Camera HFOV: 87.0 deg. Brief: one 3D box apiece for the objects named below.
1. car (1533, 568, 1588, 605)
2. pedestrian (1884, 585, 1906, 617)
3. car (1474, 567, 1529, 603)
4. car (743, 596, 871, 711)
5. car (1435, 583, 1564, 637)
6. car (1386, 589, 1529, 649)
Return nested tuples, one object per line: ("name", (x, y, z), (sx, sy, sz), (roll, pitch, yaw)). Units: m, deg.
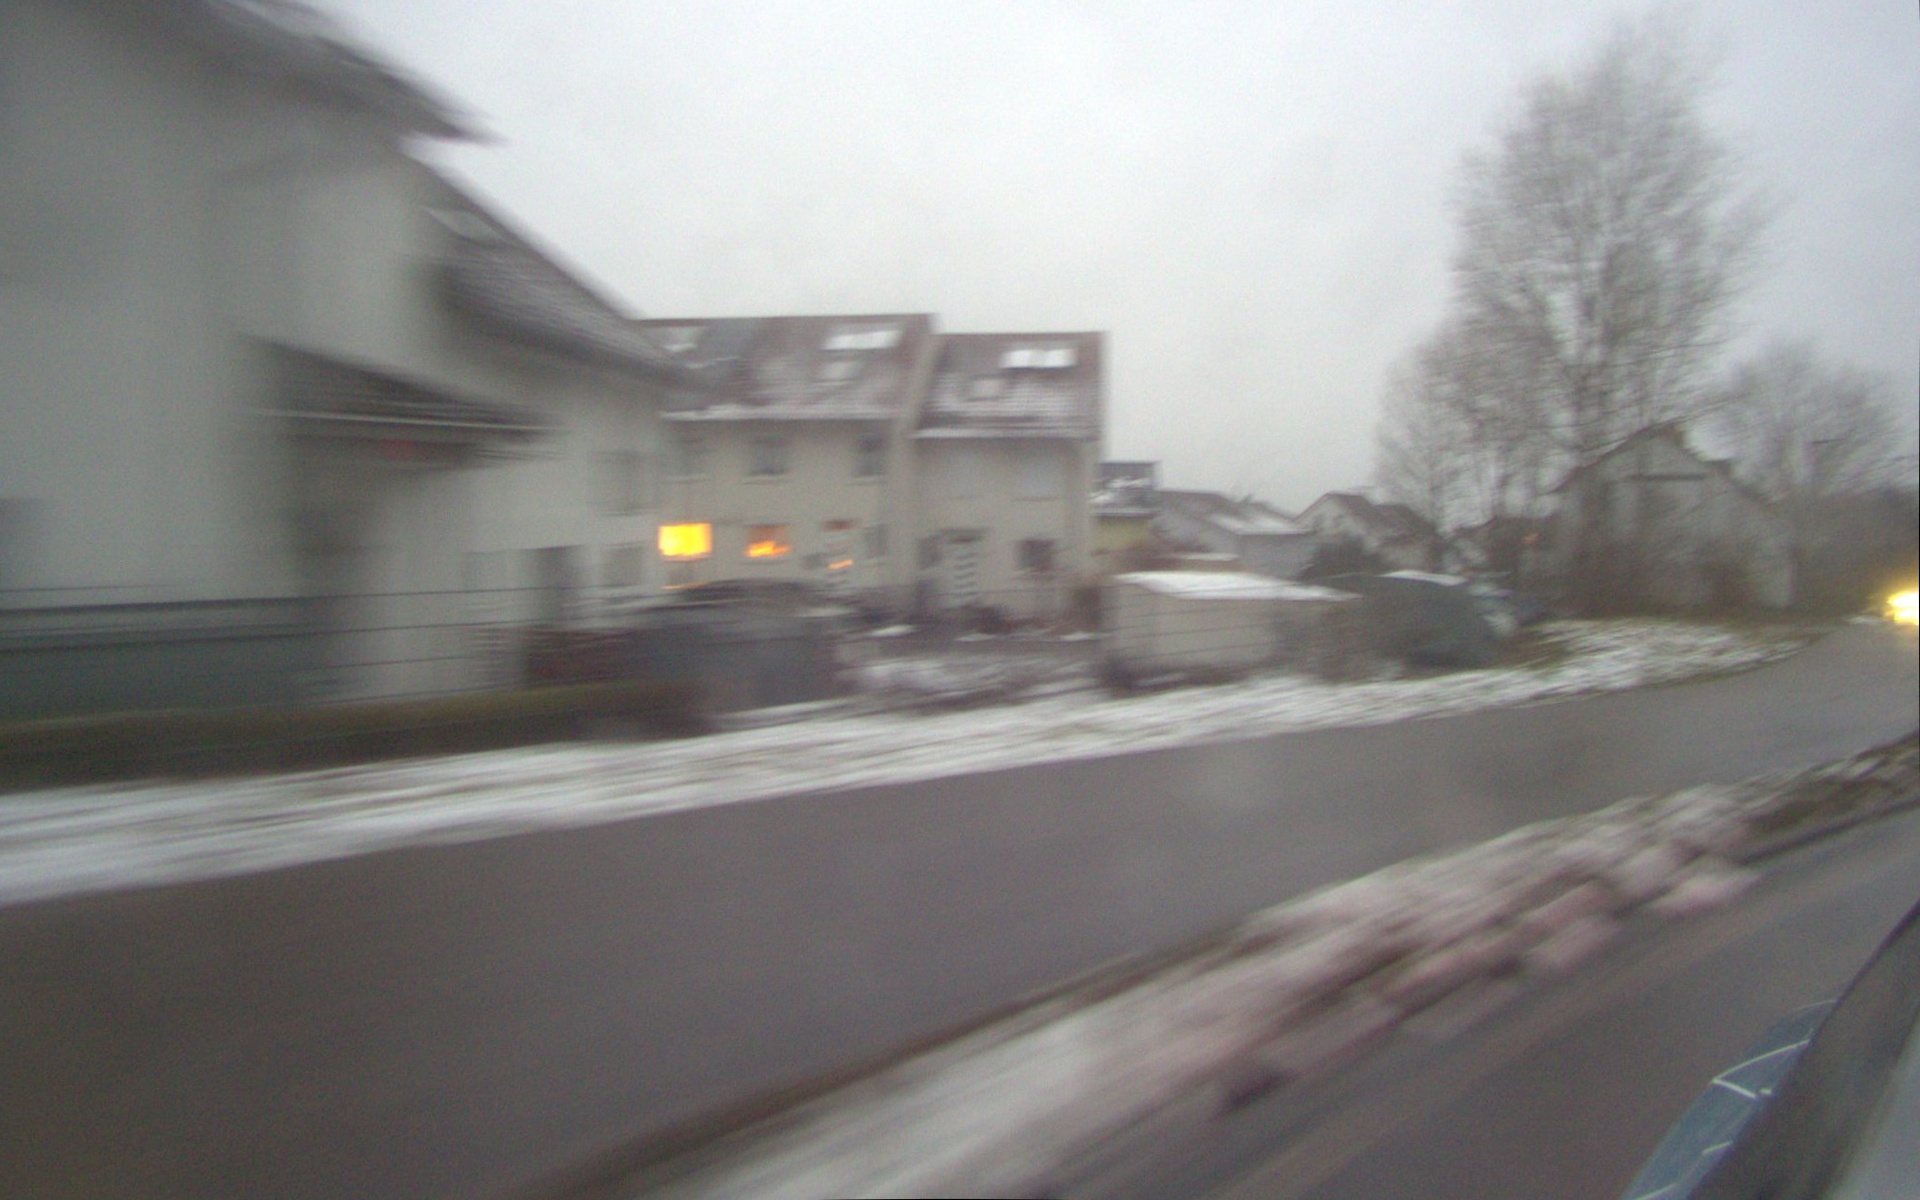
("car", (29.736, -0.718, 50.052), (1.637, 1.489, 3.686), (5, 7, 41))
("pedestrian", (50.773, 0.037, 54.939), (0.743, 1.675, 0.956), (4, 3, 40))
("car", (27.748, -0.800, 51.831), (1.637, 1.489, 3.686), (5, 7, 41))
("car", (-2.600, 0.825, 18.225), (1.914, 1.506, 4.916), (2, 3, -5))
("car", (19.392, 0.321, 36.430), (3.778, 1.616, 1.778), (5, 3, 40))
("car", (16.054, 0.551, 32.719), (3.778, 1.616, 1.778), (5, 3, 40))
